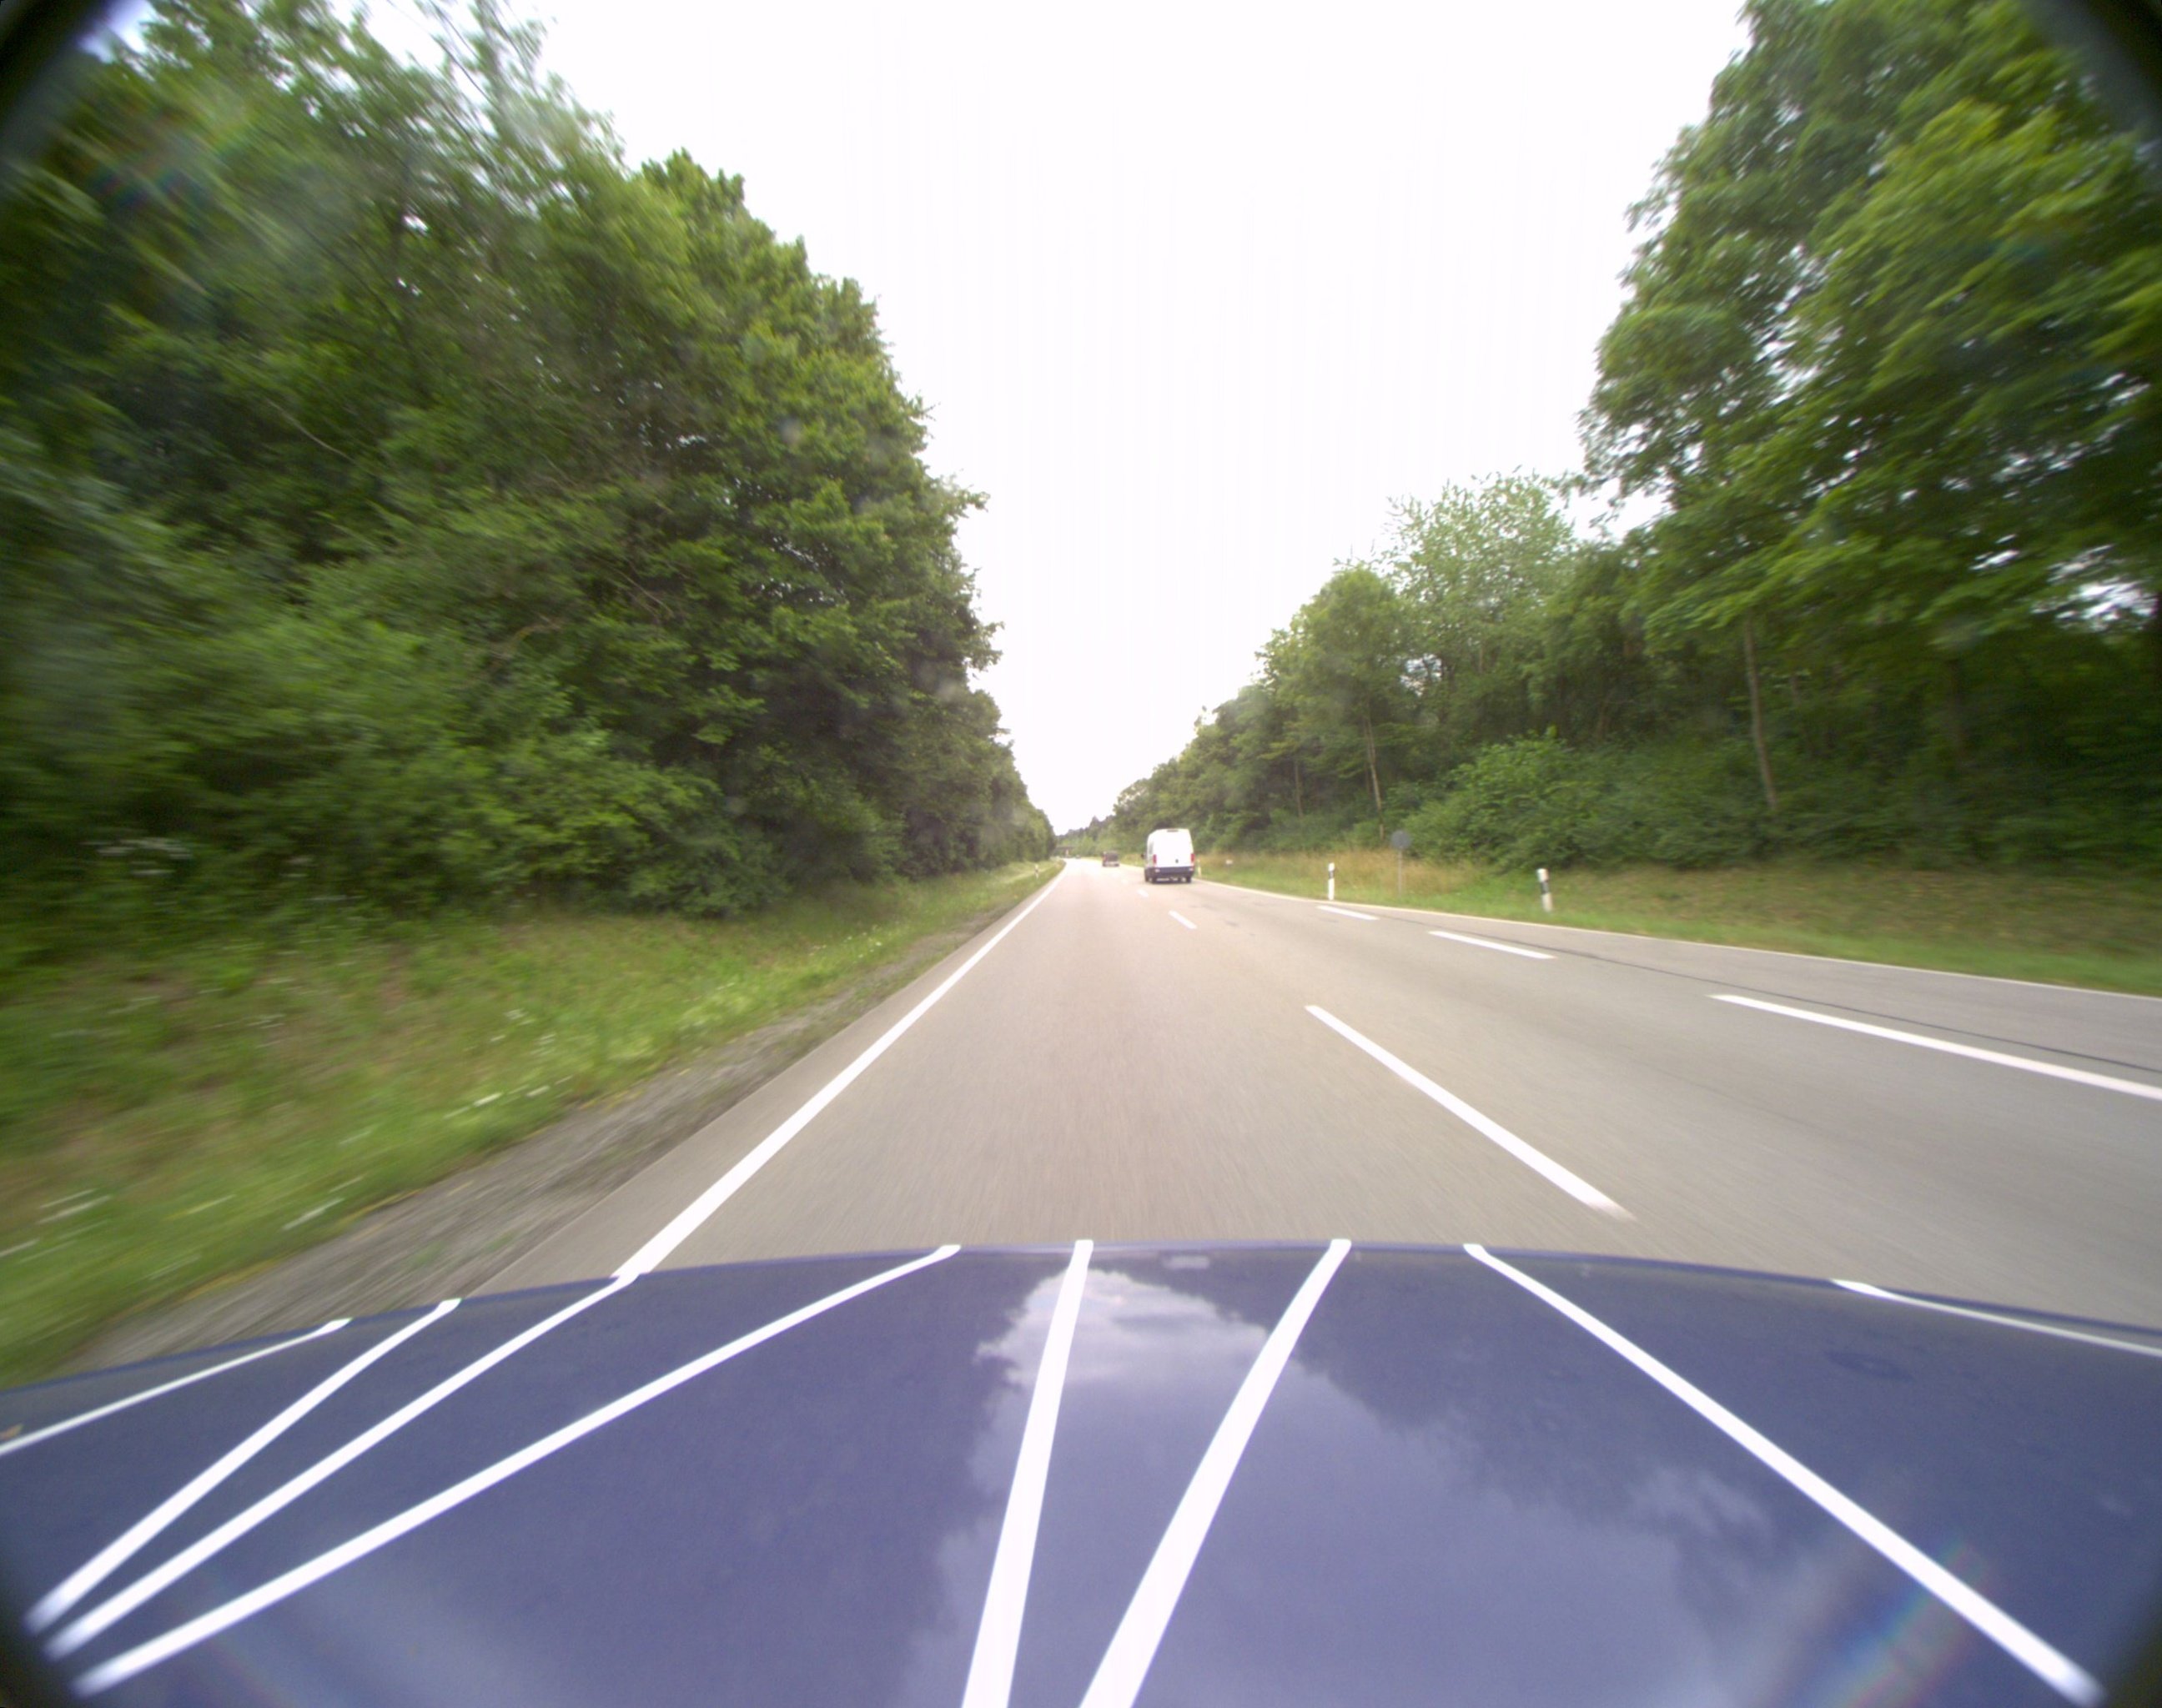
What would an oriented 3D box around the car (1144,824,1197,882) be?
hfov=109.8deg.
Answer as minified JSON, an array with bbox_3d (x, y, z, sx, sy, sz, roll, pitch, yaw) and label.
[{"bbox_3d":[4.478,-0.078,38.864,1.998,2.681,5.977,-2,1,1],"label":"car"}]

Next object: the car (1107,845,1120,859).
[{"bbox_3d":[4.154,-0.211,97.291,1.608,1.699,3.476,-2,1,1],"label":"car"}]

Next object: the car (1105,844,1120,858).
[{"bbox_3d":[3.876,-0.364,94.167,1.768,1.699,3.653,-2,1,1],"label":"car"}]
